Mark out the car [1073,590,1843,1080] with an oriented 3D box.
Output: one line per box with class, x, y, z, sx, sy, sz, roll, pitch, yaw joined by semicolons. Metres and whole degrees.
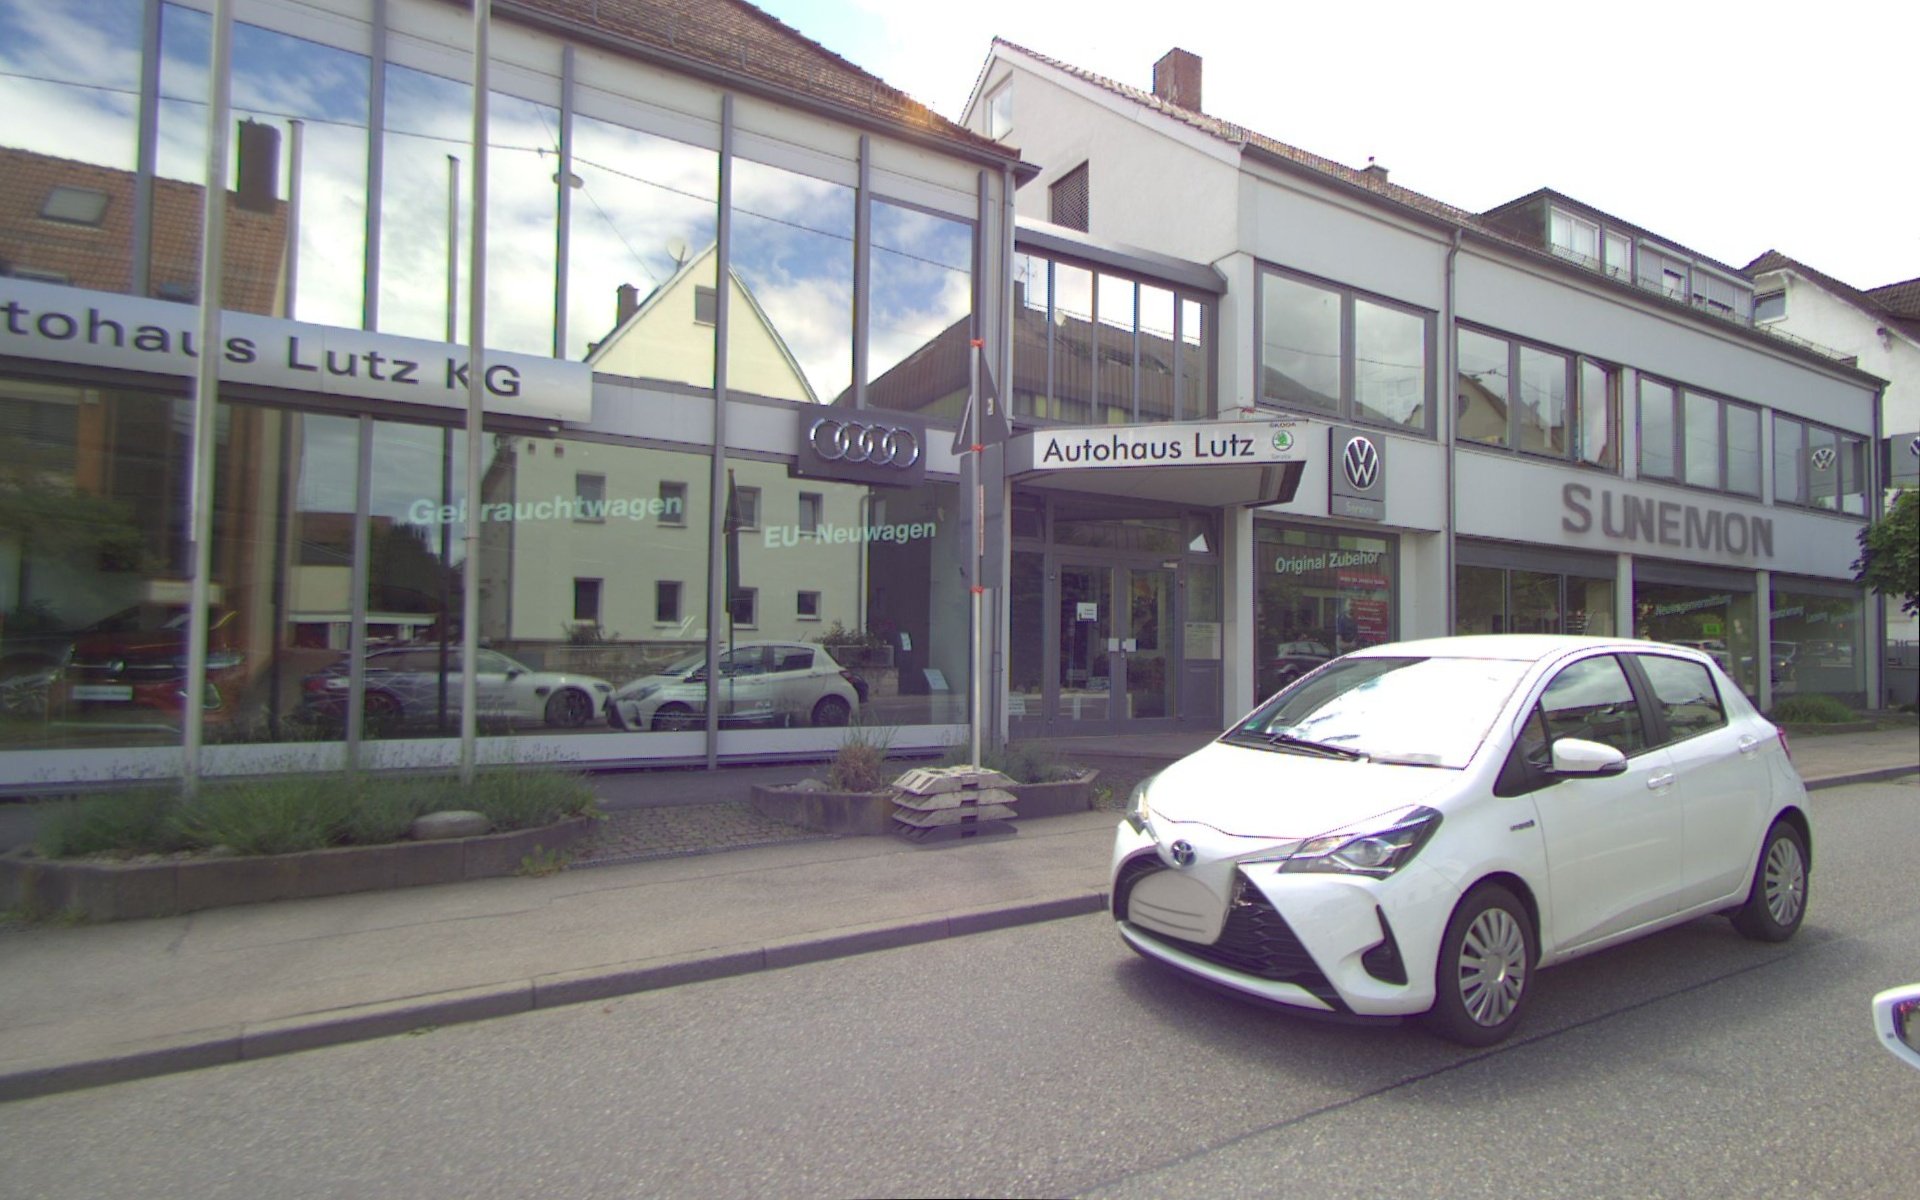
car;2.568;0.859;5.007;3.756;1.600;1.682;2;-3;-31
